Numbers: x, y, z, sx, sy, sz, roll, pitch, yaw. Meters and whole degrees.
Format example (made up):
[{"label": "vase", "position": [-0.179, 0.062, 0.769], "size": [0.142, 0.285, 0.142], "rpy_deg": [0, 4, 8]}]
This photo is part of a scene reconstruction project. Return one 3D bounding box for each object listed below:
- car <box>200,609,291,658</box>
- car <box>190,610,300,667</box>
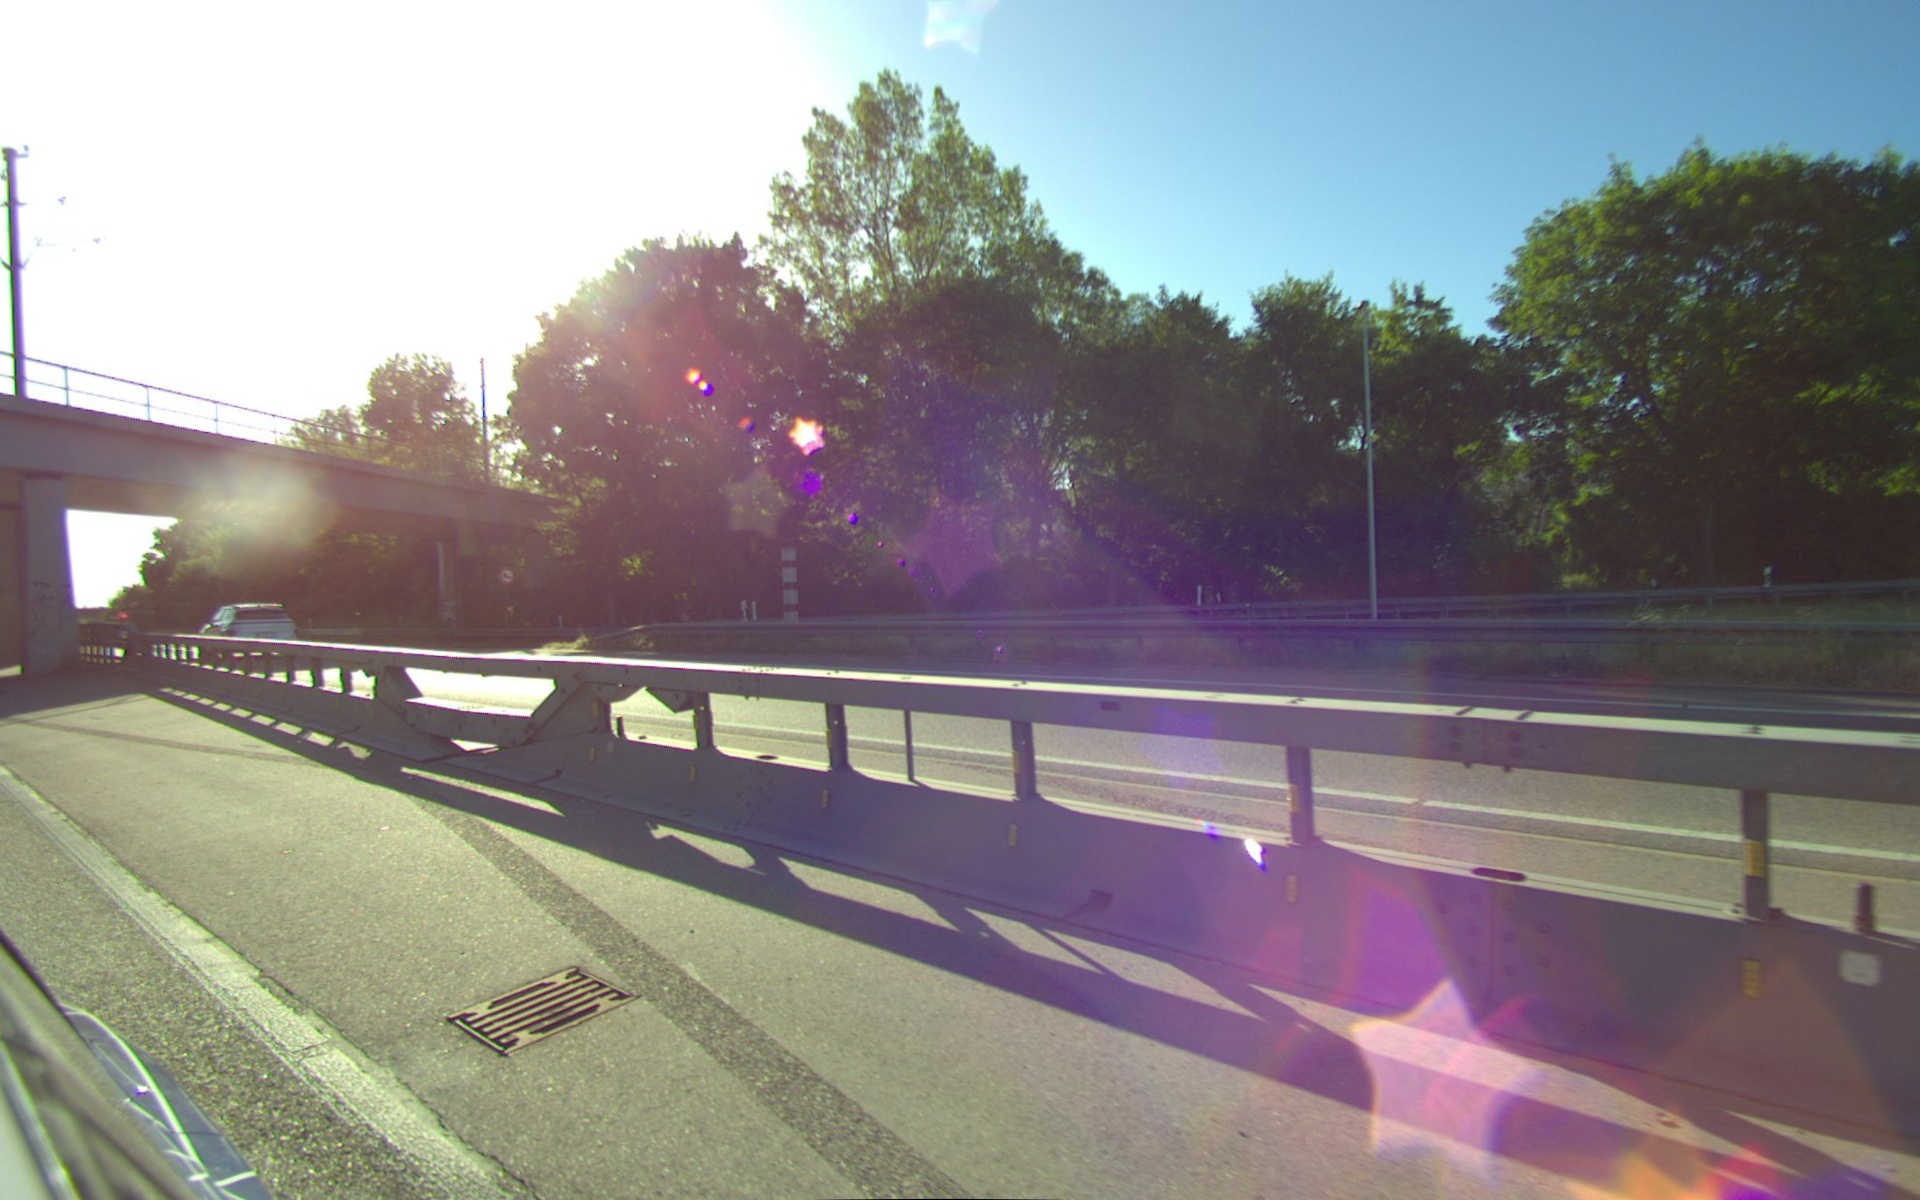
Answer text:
[{"label": "car", "position": [-30.388, 1.406, 42.971], "size": [5.519, 1.925, 1.972], "rpy_deg": [-2, -1, 42]}, {"label": "car", "position": [-21.639, 1.136, 30.580], "size": [4.531, 1.590, 1.768], "rpy_deg": [-2, -1, 42]}]
